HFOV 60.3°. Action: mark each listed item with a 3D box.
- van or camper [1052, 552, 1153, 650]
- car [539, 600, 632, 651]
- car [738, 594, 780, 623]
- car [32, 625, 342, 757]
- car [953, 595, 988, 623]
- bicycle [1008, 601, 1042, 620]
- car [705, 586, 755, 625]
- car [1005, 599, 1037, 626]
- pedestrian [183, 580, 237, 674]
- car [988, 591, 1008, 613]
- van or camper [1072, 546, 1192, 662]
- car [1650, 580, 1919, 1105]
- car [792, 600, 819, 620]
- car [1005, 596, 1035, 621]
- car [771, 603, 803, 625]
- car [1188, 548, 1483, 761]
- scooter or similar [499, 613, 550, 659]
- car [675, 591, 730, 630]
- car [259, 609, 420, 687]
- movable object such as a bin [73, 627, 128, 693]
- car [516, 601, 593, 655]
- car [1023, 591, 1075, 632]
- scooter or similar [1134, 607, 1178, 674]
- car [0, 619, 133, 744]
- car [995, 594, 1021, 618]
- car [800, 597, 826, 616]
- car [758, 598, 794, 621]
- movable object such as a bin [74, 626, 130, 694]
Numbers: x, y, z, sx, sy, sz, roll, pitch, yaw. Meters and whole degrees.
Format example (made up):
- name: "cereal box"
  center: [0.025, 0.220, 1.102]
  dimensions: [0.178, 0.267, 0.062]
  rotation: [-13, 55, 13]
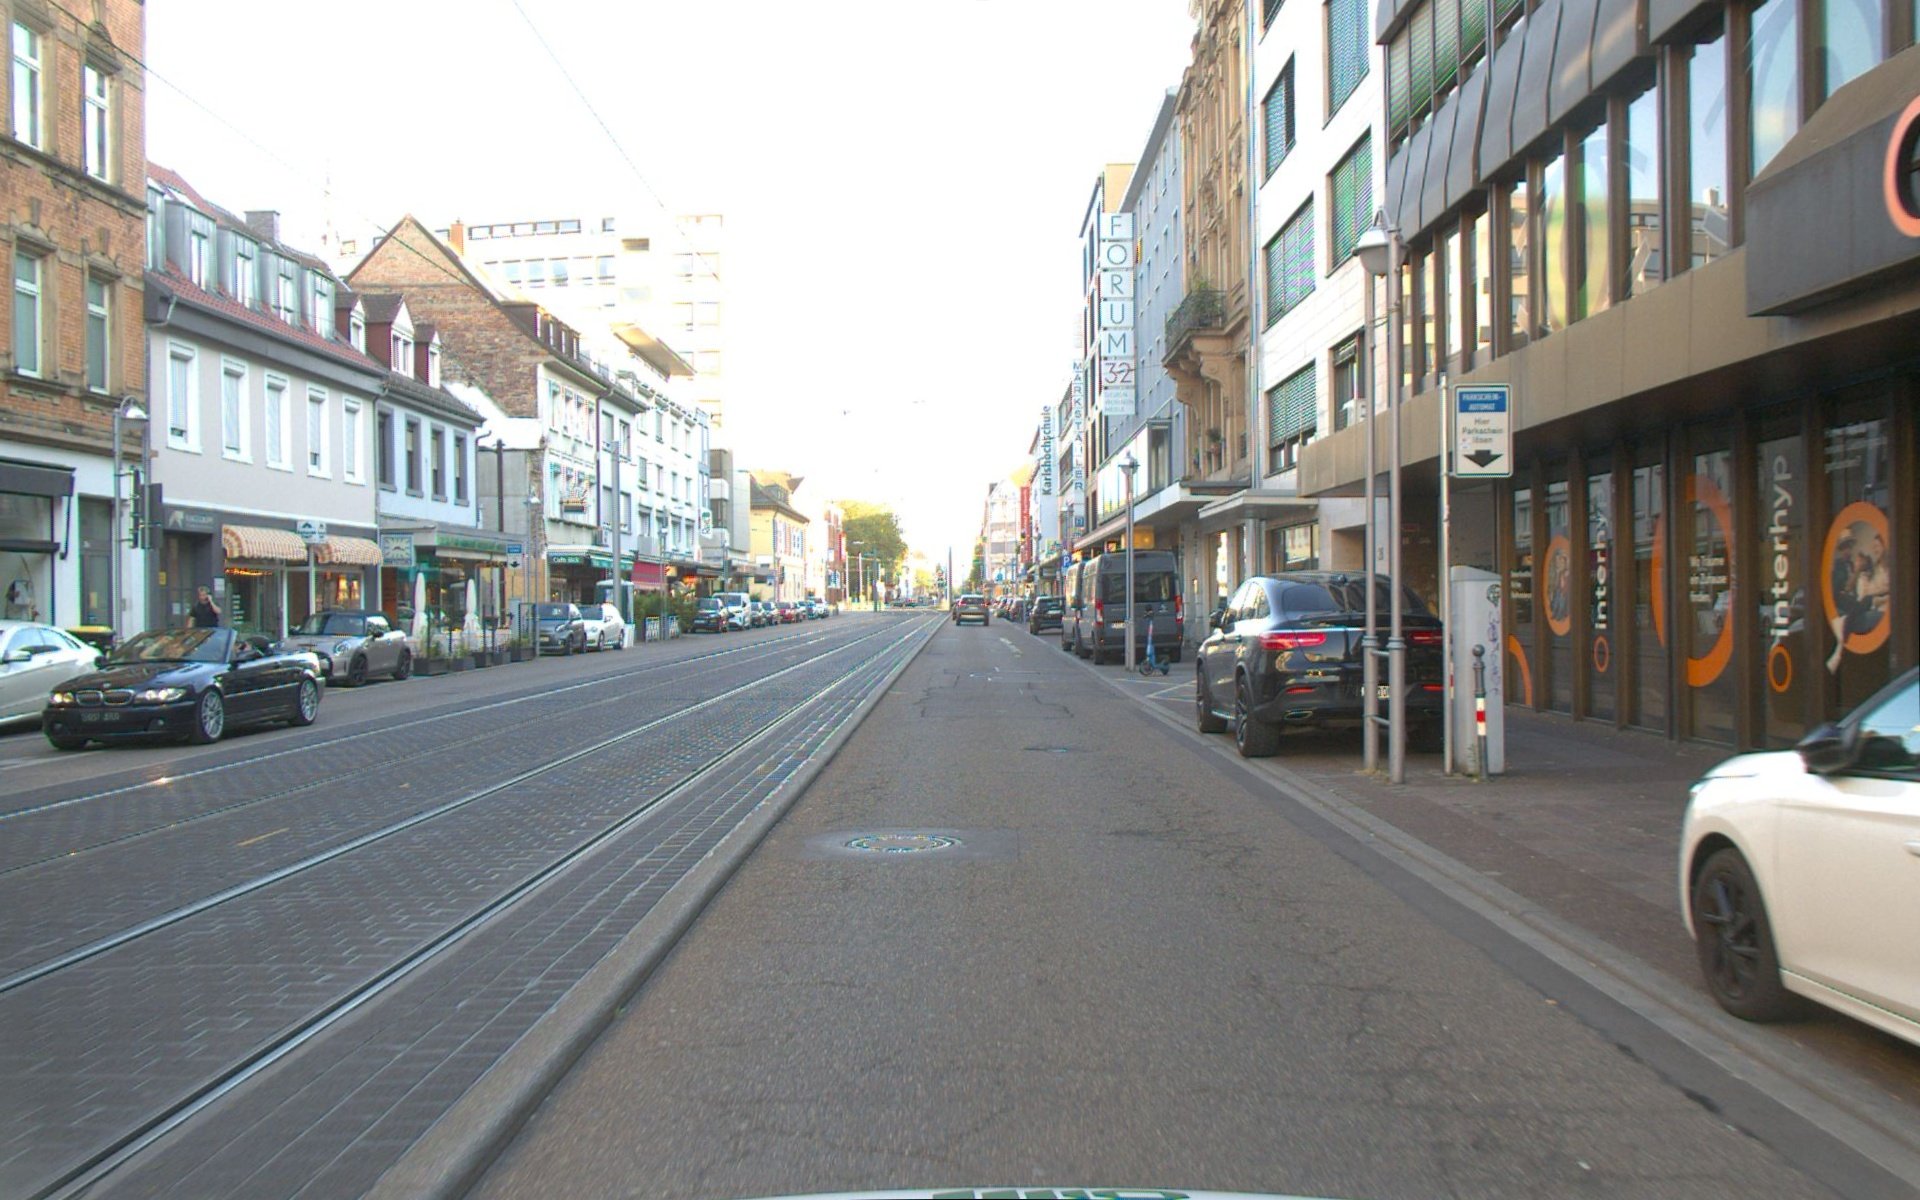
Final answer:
- name: "van or camper"
  center: [3.914, 0.027, 46.380]
  dimensions: [2.144, 2.468, 5.516]
  rotation: [-3, 0, -1]
- name: "car"
  center: [-12.079, 0.785, 53.638]
  dimensions: [1.811, 1.531, 4.842]
  rotation: [2, 0, 0]
- name: "car"
  center: [-11.671, 0.479, 96.212]
  dimensions: [1.878, 1.547, 4.629]
  rotation: [2, 0, -1]
- name: "car"
  center: [-9.020, 0.998, 19.731]
  dimensions: [1.633, 1.249, 4.273]
  rotation: [-3, 0, 0]
- name: "car"
  center: [0.590, 0.489, 92.797]
  dimensions: [1.903, 1.572, 4.545]
  rotation: [0, 0, 1]
- name: "bicycle"
  center: [4.095, 0.664, 103.675]
  dimensions: [2.076, 1.109, 0.591]
  rotation: [-1, 0, -3]
- name: "car"
  center: [-12.247, 0.262, 88.269]
  dimensions: [1.878, 1.969, 4.842]
  rotation: [2, 0, 0]
- name: "car"
  center: [3.949, 0.796, 106.924]
  dimensions: [1.904, 1.571, 4.545]
  rotation: [-3, 0, 1]
- name: "pedestrian"
  center: [-14.530, 0.513, 32.061]
  dimensions: [0.634, 1.803, 0.855]
  rotation: [1, 0, 1]
- name: "car"
  center: [3.800, 0.194, 167.389]
  dimensions: [1.904, 2.183, 4.545]
  rotation: [-3, 0, 1]
- name: "van or camper"
  center: [4.050, 0.085, 40.092]
  dimensions: [2.144, 2.468, 6.132]
  rotation: [-3, 0, 0]
- name: "car"
  center: [3.657, 0.688, 4.675]
  dimensions: [1.730, 1.511, 3.872]
  rotation: [-3, 0, 0]
- name: "car"
  center: [-12.202, 0.802, 130.900]
  dimensions: [1.754, 1.475, 3.891]
  rotation: [2, 0, -1]
- name: "car"
  center: [4.103, 0.591, 113.090]
  dimensions: [1.904, 1.571, 4.545]
  rotation: [-3, 0, 1]
- name: "car"
  center: [-11.697, 0.944, 112.186]
  dimensions: [1.754, 1.362, 3.891]
  rotation: [2, 0, -1]
- name: "car"
  center: [3.628, 0.476, 16.881]
  dimensions: [1.943, 1.765, 4.671]
  rotation: [-3, 0, 1]
- name: "scooter or similar"
  center: [-12.105, 1.000, 45.976]
  dimensions: [1.287, 1.226, 0.294]
  rotation: [1, 0, 1]
- name: "car"
  center: [-12.503, 0.518, 80.526]
  dimensions: [1.878, 1.794, 4.430]
  rotation: [2, 0, 0]
- name: "car"
  center: [-12.385, 0.921, 33.249]
  dimensions: [1.698, 1.414, 3.865]
  rotation: [2, 0, 1]
- name: "movable object such as a bin"
  center: [-15.535, 1.075, 29.912]
  dimensions: [0.578, 1.151, 0.729]
  rotation: [-1, 0, 1]
- name: "car"
  center: [-12.001, 0.812, 49.117]
  dimensions: [1.559, 1.531, 2.812]
  rotation: [2, 0, -1]
- name: "car"
  center: [3.691, 0.466, 69.249]
  dimensions: [1.904, 1.571, 4.545]
  rotation: [-3, 0, 1]
- name: "scooter or similar"
  center: [3.835, 0.781, 32.382]
  dimensions: [0.348, 1.245, 1.112]
  rotation: [-3, 0, 32]
- name: "car"
  center: [-12.413, 0.997, 21.013]
  dimensions: [1.723, 1.414, 4.272]
  rotation: [2, 0, -2]
- name: "car"
  center: [3.703, 0.461, 128.893]
  dimensions: [1.904, 1.733, 4.545]
  rotation: [-3, 0, 1]
- name: "car"
  center: [-12.149, 0.546, 136.947]
  dimensions: [1.754, 1.475, 3.891]
  rotation: [2, 0, -1]
- name: "car"
  center: [-11.387, 0.587, 102.506]
  dimensions: [1.754, 1.362, 3.891]
  rotation: [2, 0, -1]
- name: "movable object such as a bin"
  center: [-15.123, 1.052, 29.172]
  dimensions: [0.578, 1.151, 0.729]
  rotation: [-1, 0, 1]
